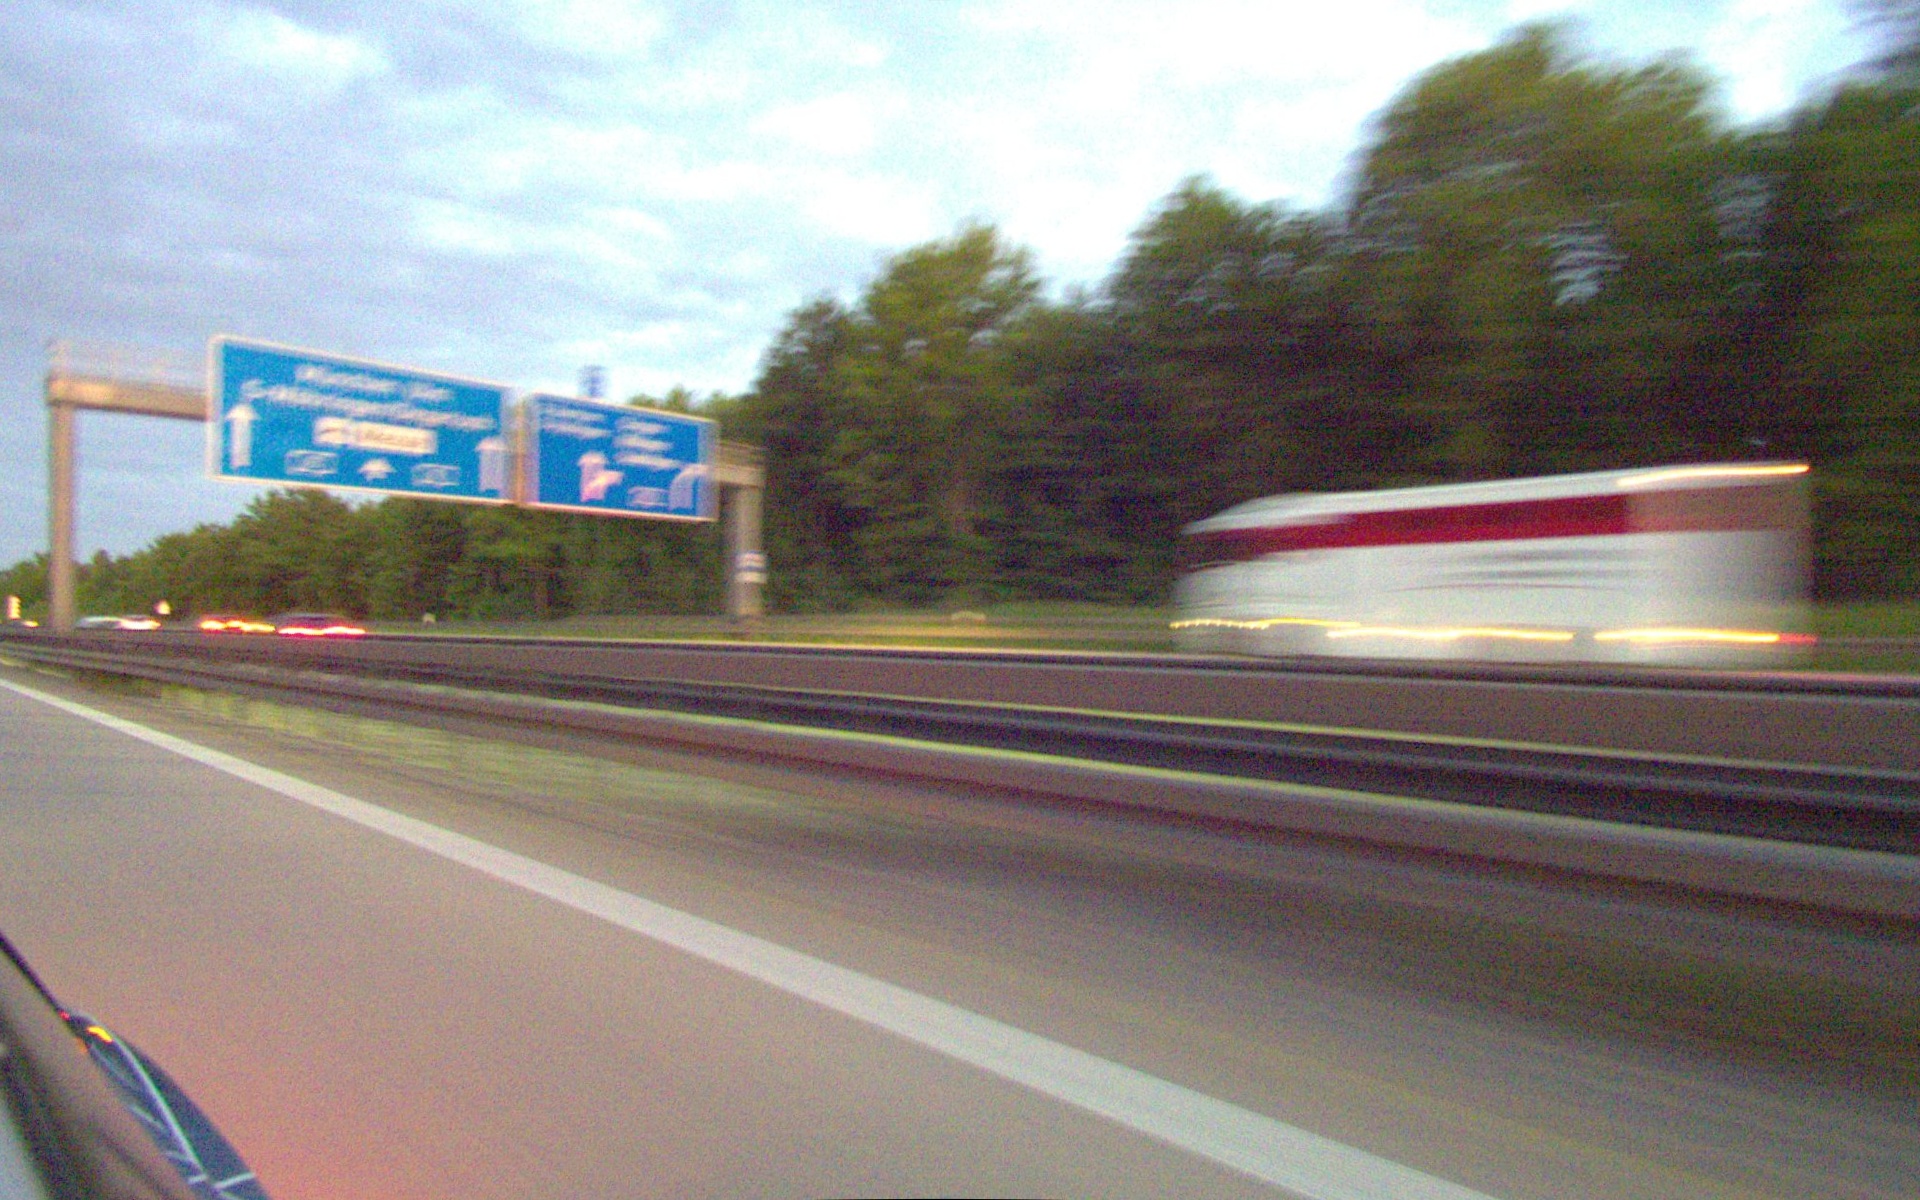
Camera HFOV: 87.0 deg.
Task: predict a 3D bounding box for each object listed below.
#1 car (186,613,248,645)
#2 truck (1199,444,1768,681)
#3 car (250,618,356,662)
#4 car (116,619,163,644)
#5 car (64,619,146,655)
[{"bbox_3d":[-44.176,1.710,60.145,4.368,1.811,1.974,-1,-1,39],"label":"car"},{"bbox_3d":[10.545,-0.574,21.787,10.542,4.041,2.616,-1,-1,42],"label":"truck"},{"bbox_3d":[-22.906,1.355,35.193,4.801,1.421,1.721,-1,-1,39],"label":"car"},{"bbox_3d":[-61.026,2.310,75.247,4.203,1.811,1.973,-1,-1,41],"label":"car"},{"bbox_3d":[-37.212,1.590,44.017,4.368,1.447,1.974,-1,-1,39],"label":"car"}]
